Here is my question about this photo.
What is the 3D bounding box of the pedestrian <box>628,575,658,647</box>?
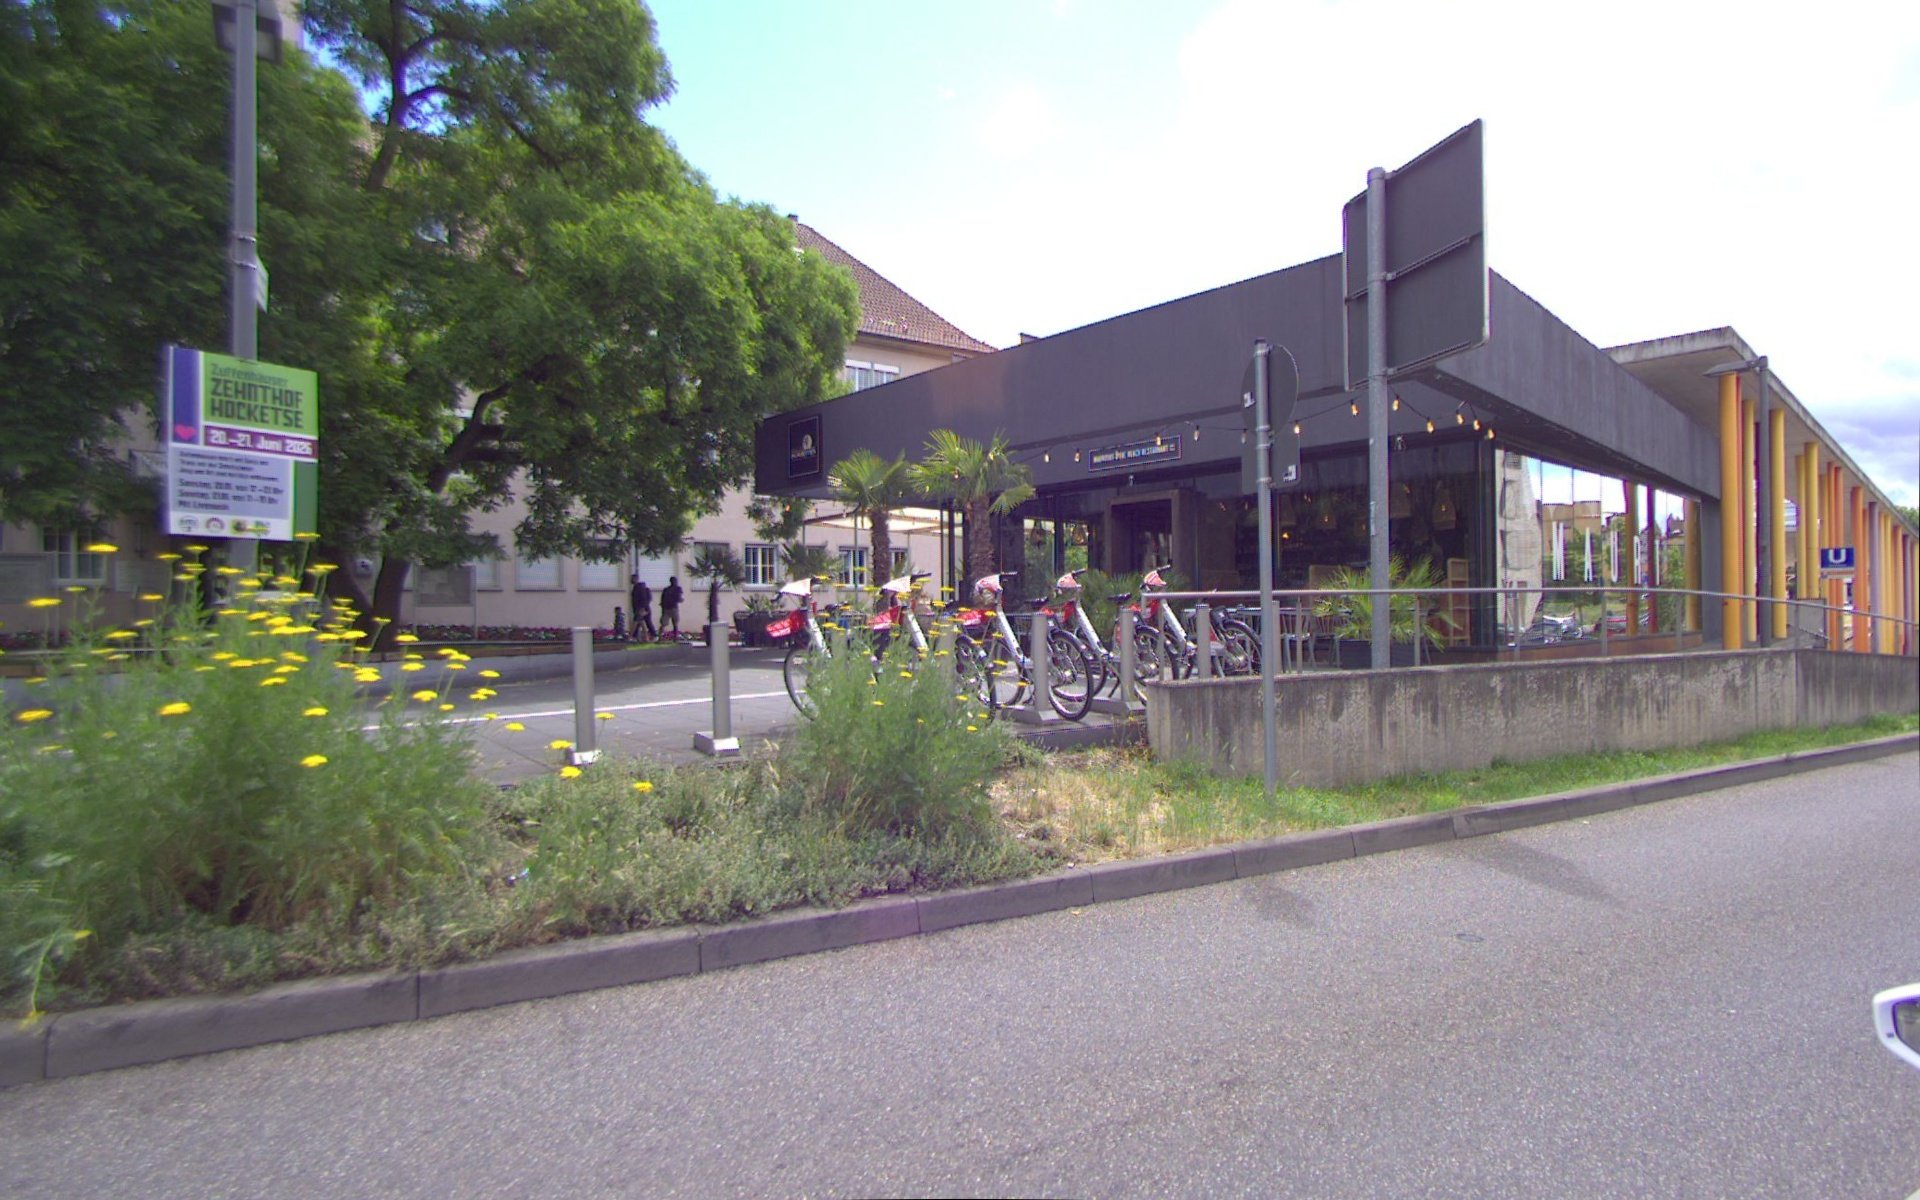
[{"bbox_3d":[-8.267,0.288,26.175,0.587,1.832,0.638,2,-1,-30],"label":"pedestrian"}]

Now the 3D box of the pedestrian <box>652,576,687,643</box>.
[{"bbox_3d":[-7.078,0.242,24.463,0.636,1.585,0.730,2,-1,-31],"label":"pedestrian"}]

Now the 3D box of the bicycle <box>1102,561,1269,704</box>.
[{"bbox_3d":[1.938,0.285,8.836,0.527,1.142,1.539,0,-2,-30],"label":"bicycle"}]

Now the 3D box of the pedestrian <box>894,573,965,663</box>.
[{"bbox_3d":[-0.495,0.295,16.130,0.787,1.397,0.790,2,-1,-43],"label":"pedestrian"}]

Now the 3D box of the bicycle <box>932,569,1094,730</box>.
[{"bbox_3d":[0.376,0.375,7.912,0.527,1.142,1.539,0,-2,-30],"label":"bicycle"}]

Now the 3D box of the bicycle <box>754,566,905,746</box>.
[{"bbox_3d":[-0.976,0.380,7.202,0.527,1.142,1.539,0,-2,-30],"label":"bicycle"}]

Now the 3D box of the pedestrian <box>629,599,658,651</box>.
[{"bbox_3d":[-8.550,0.673,27.091,0.587,1.356,0.638,2,-1,-30],"label":"pedestrian"}]

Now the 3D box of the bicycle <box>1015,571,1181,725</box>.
[{"bbox_3d":[1.089,0.379,8.254,0.527,1.142,1.539,0,-2,-30],"label":"bicycle"}]

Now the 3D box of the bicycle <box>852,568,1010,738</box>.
[{"bbox_3d":[-0.261,0.379,7.536,0.527,1.142,1.539,0,-2,-30],"label":"bicycle"}]

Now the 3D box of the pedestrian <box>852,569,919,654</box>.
[{"bbox_3d":[-1.270,0.203,17.032,0.787,1.397,0.790,2,-1,-43],"label":"pedestrian"}]
